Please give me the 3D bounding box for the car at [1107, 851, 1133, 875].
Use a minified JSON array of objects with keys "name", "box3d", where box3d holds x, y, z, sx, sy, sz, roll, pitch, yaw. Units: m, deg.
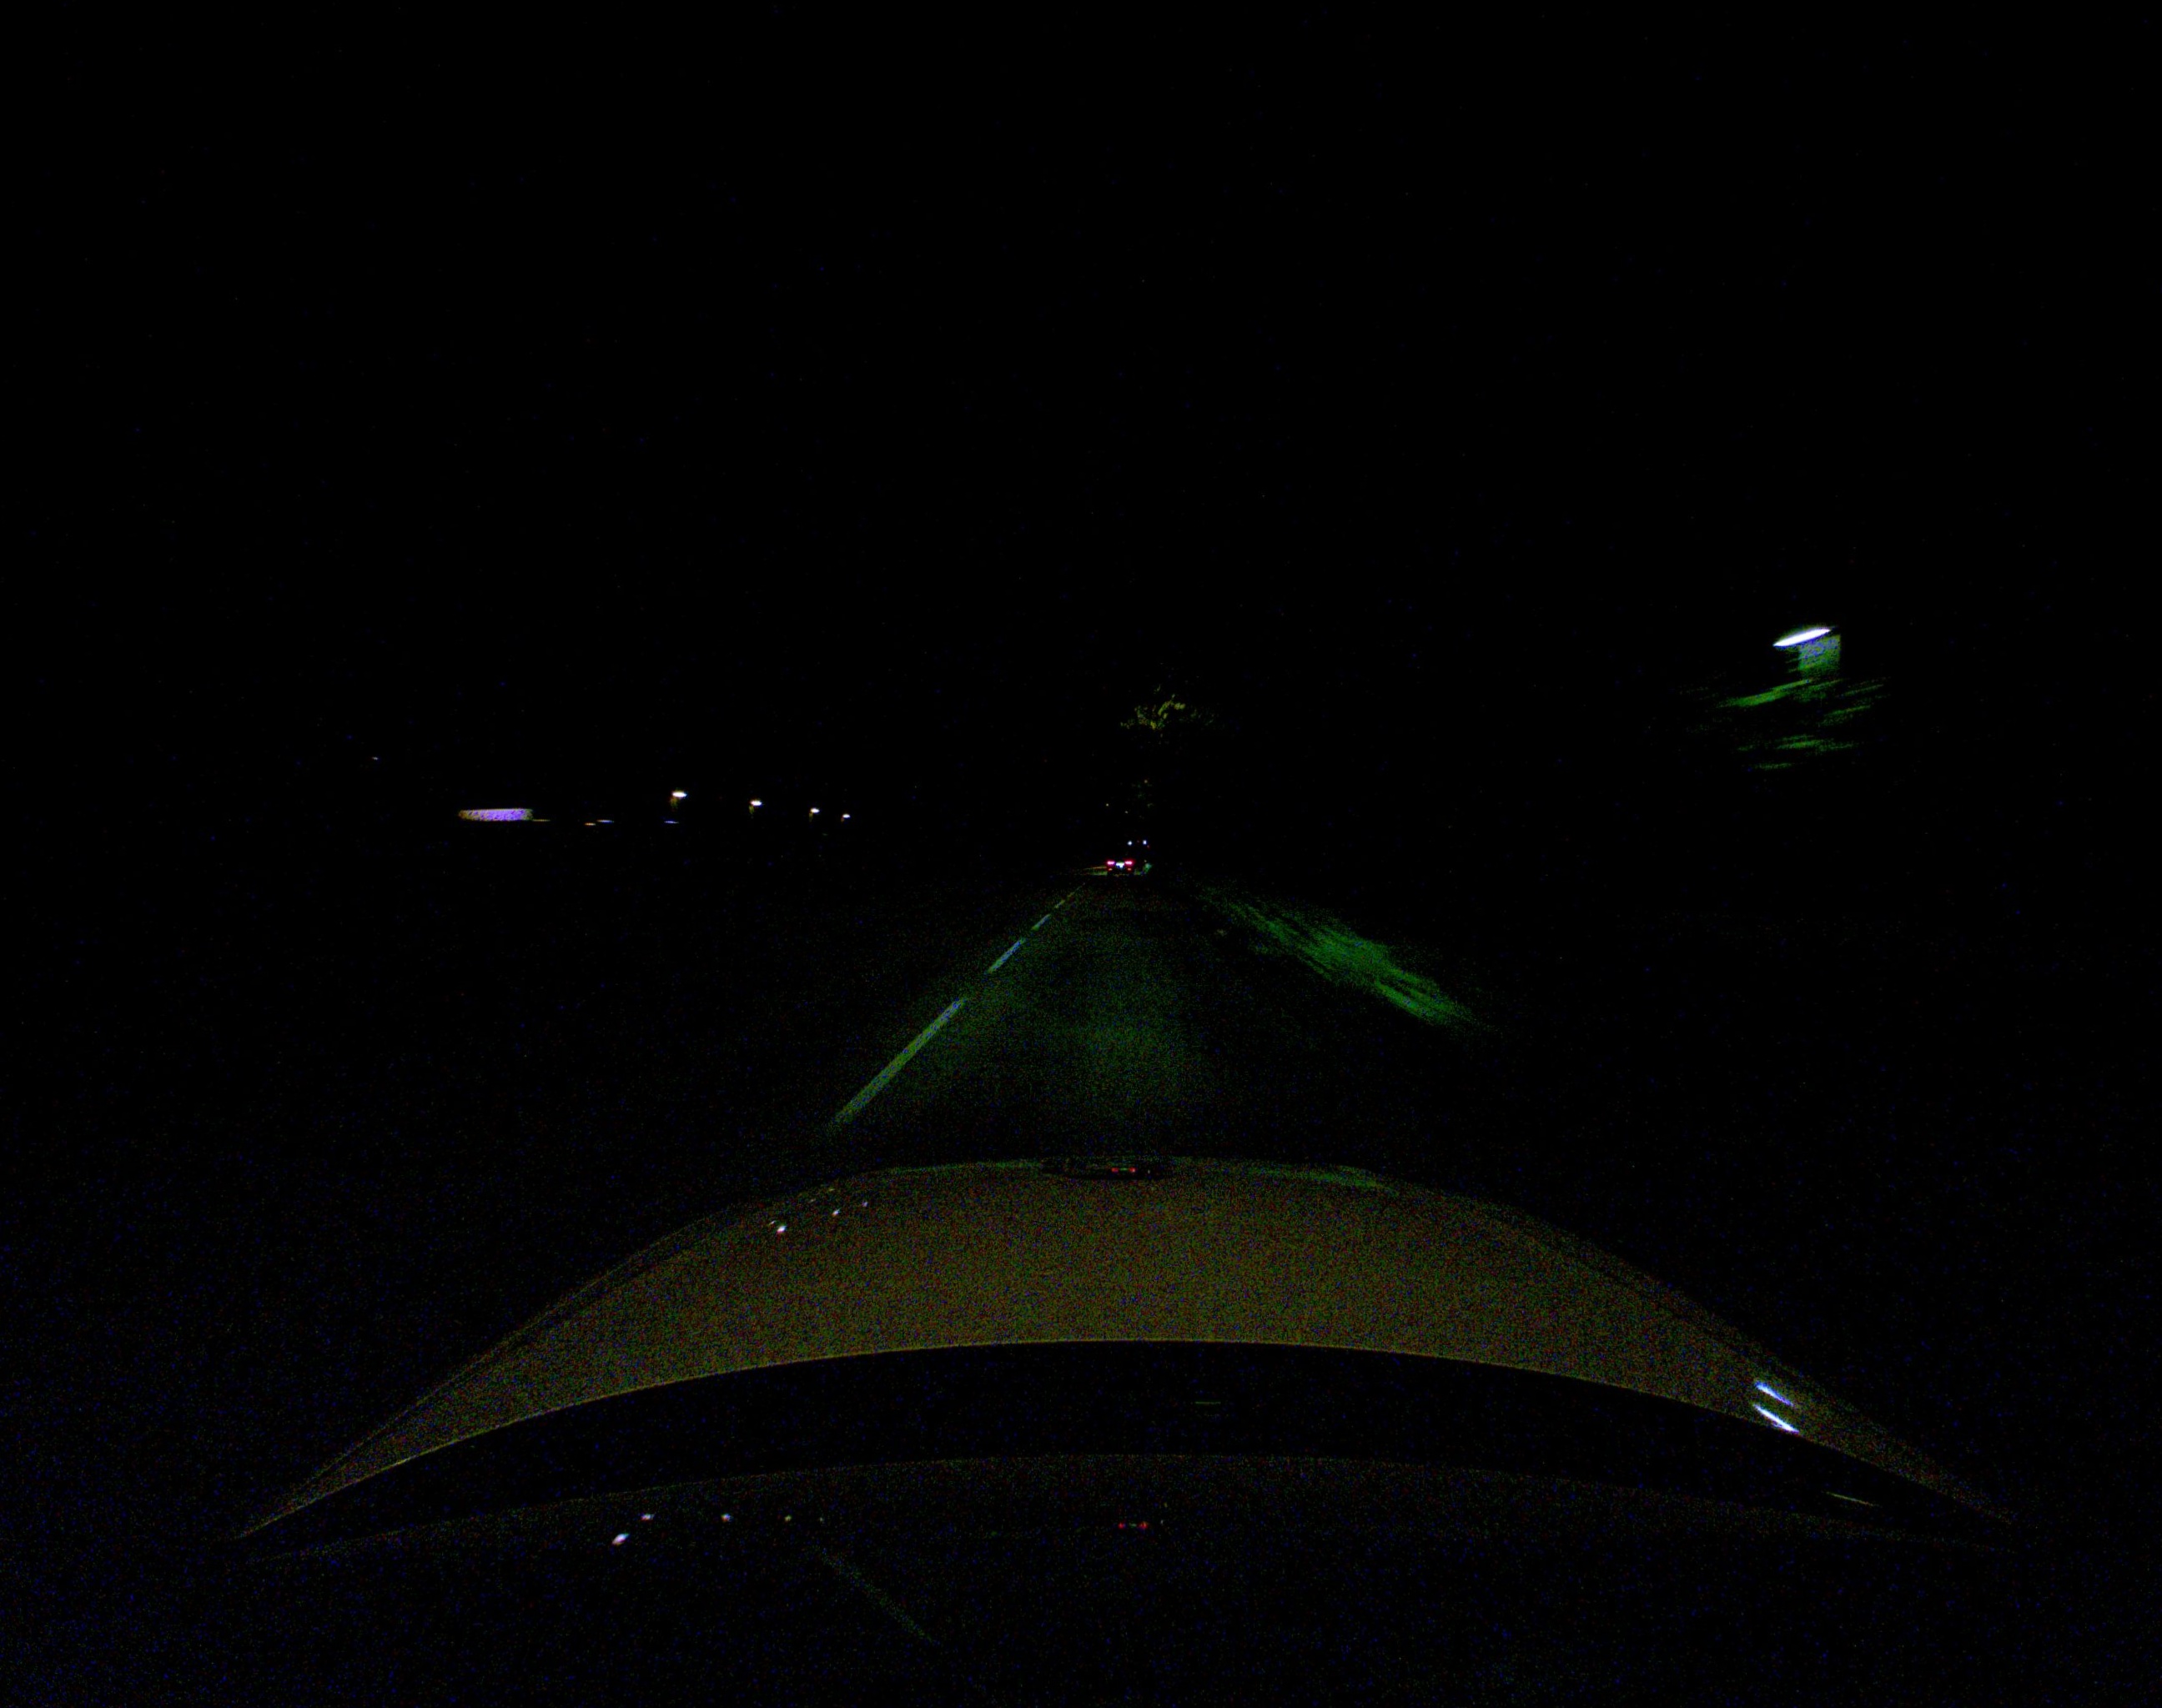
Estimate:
[{"name":"car","box3d":[2.722,0.612,57.523,1.757,1.642,3.723,-1,0,1]}]
